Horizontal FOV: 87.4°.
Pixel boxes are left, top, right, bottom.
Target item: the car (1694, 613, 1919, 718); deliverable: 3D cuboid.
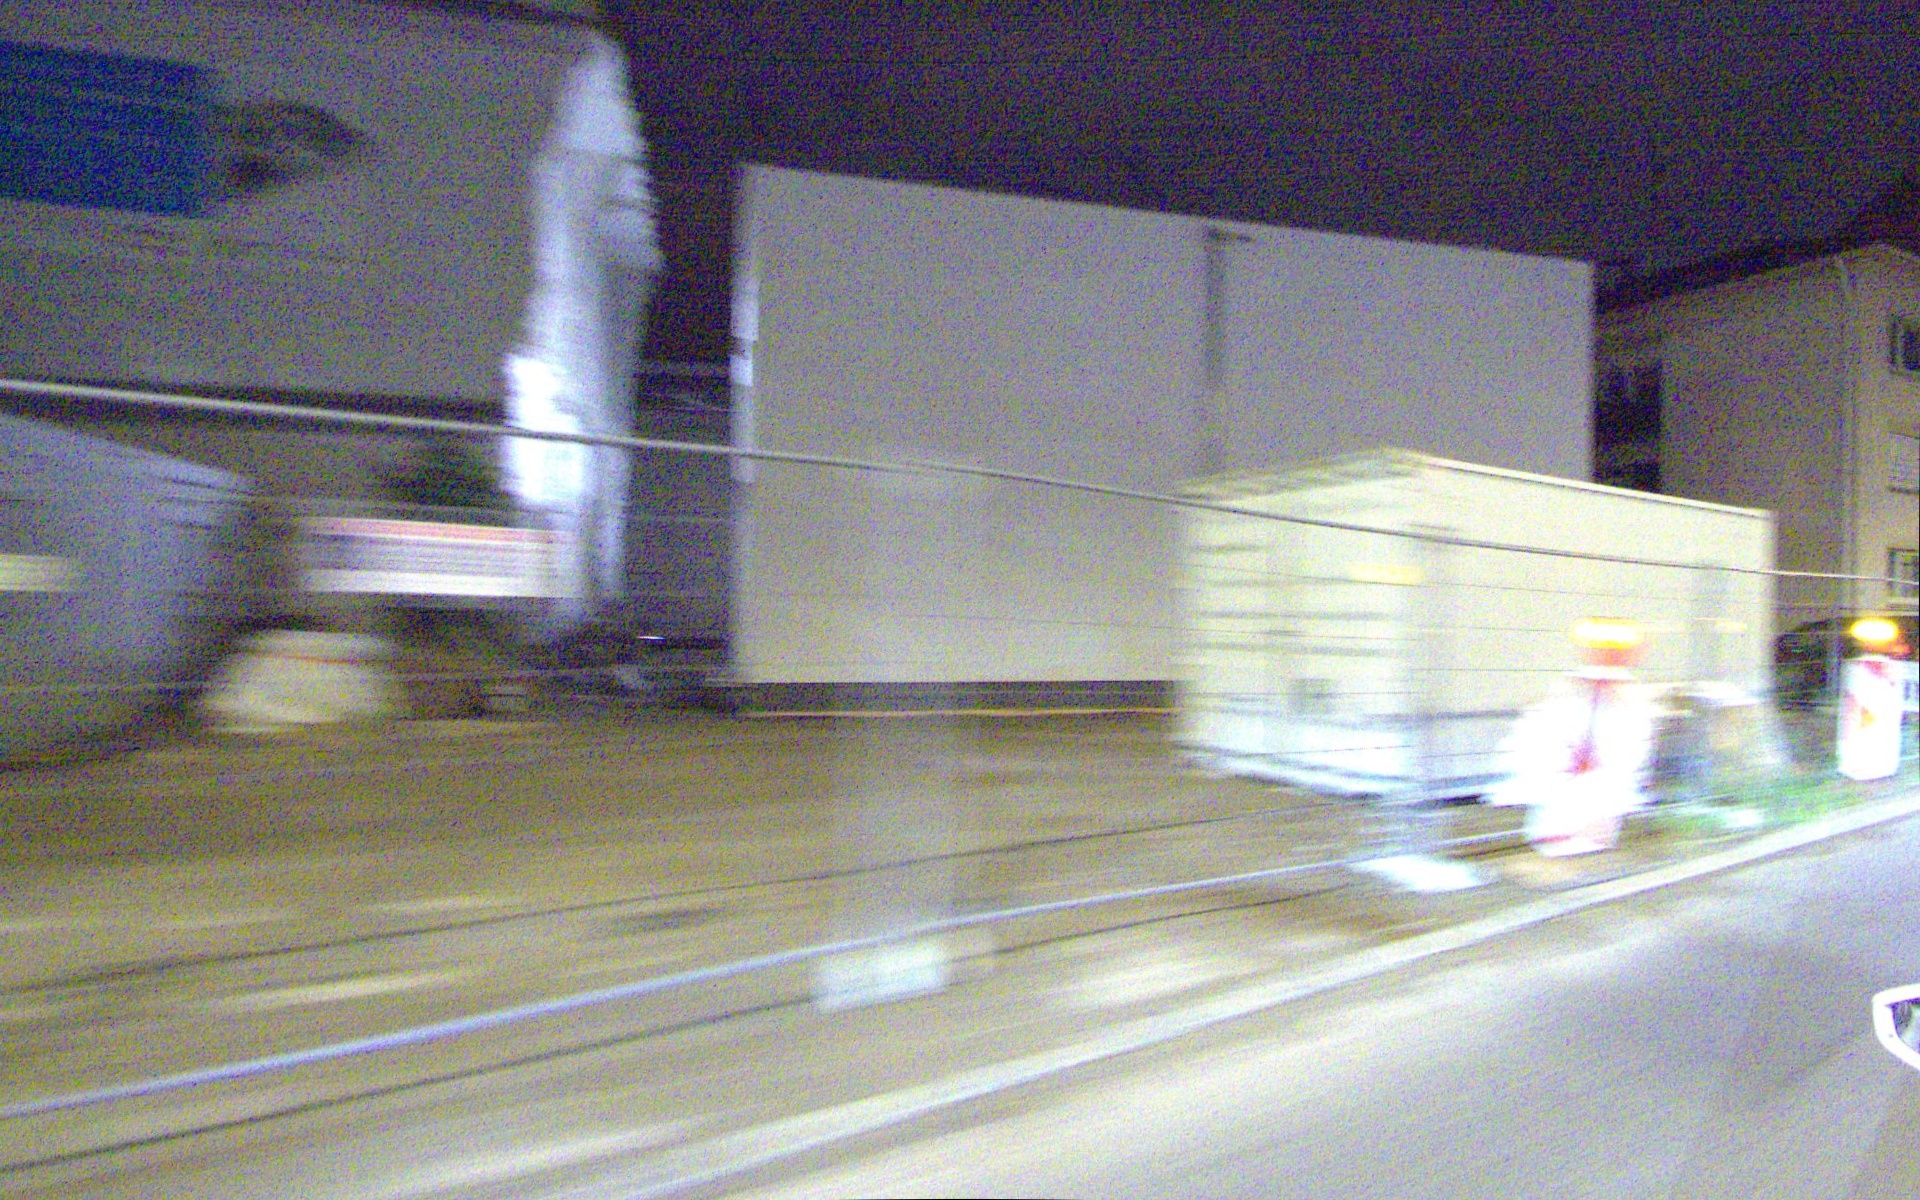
[{"bbox_3d":[17.671,1.254,20.485,1.880,1.914,3.981,2,-1,-20],"label":"car"}]
